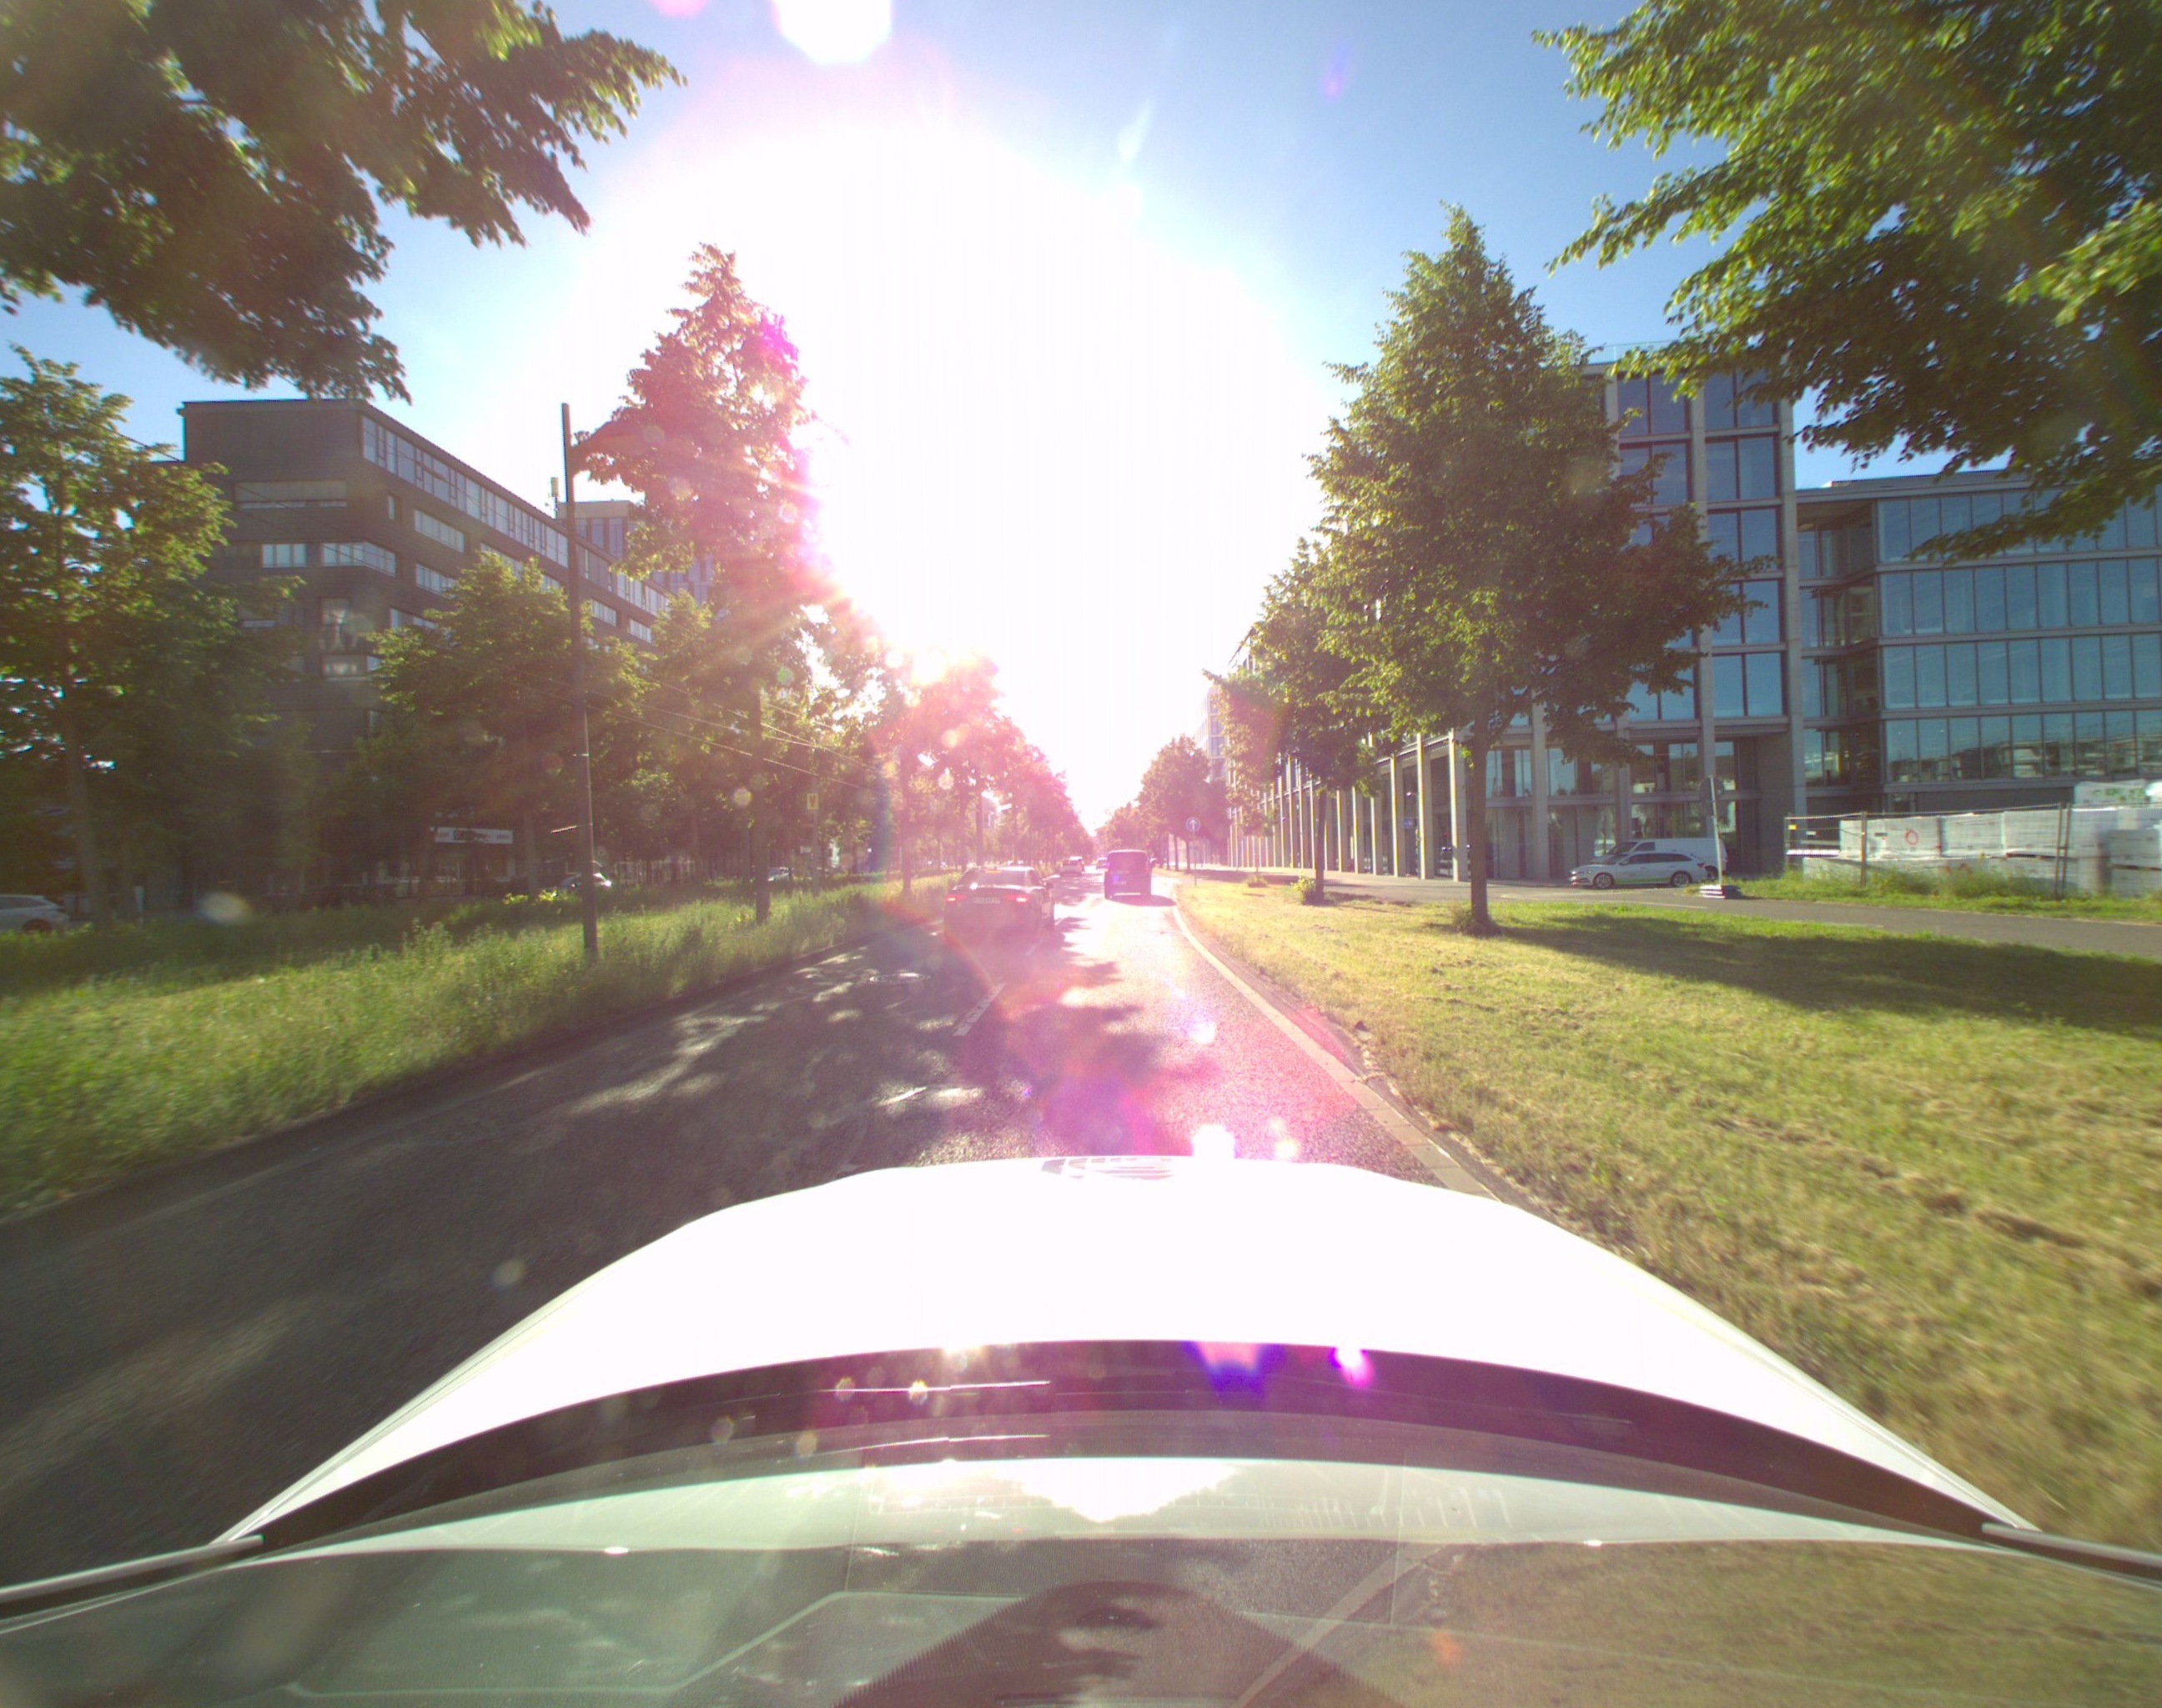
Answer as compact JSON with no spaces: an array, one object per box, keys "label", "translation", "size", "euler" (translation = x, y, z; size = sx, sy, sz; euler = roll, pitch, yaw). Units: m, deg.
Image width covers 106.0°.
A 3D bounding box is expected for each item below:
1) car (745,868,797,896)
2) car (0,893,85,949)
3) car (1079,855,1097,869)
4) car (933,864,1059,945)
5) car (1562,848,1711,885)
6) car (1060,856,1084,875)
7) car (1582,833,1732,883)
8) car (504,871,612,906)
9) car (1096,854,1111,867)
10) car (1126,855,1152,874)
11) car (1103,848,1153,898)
[{"label":"car","translation":[-21.086,1.858,55.576],"size":[1.791,1.689,4.322],"euler":[0,0,1]},{"label":"car","translation":[-30.318,1.892,21.758],"size":[1.709,1.420,4.547],"euler":[-2,0,2]},{"label":"car","translation":[0.825,0.853,89.929],"size":[1.835,1.534,3.942],"euler":[-2,0,3]},{"label":"car","translation":[-1.523,0.893,16.058],"size":[1.713,1.366,4.151],"euler":[0,0,5]},{"label":"car","translation":[21.607,0.470,31.853],"size":[4.480,1.393,1.780],"euler":[0,0,14]},{"label":"car","translation":[-0.738,0.937,67.826],"size":[1.936,1.441,3.999],"euler":[-1,0,-1]},{"label":"car","translation":[24.927,0.179,35.384],"size":[5.044,1.982,1.940],"euler":[-2,0,3]},{"label":"car","translation":[-21.554,1.398,33.778],"size":[1.791,1.263,4.001],"euler":[-2,0,1]},{"label":"car","translation":[2.725,0.760,97.232],"size":[1.715,1.425,3.817],"euler":[-2,0,1]},{"label":"car","translation":[4.600,0.802,65.231],"size":[1.716,1.425,3.814],"euler":[0,1,-2]},{"label":"car","translation":[1.754,0.674,31.500],"size":[1.791,1.777,4.001],"euler":[-1,0,1]}]
